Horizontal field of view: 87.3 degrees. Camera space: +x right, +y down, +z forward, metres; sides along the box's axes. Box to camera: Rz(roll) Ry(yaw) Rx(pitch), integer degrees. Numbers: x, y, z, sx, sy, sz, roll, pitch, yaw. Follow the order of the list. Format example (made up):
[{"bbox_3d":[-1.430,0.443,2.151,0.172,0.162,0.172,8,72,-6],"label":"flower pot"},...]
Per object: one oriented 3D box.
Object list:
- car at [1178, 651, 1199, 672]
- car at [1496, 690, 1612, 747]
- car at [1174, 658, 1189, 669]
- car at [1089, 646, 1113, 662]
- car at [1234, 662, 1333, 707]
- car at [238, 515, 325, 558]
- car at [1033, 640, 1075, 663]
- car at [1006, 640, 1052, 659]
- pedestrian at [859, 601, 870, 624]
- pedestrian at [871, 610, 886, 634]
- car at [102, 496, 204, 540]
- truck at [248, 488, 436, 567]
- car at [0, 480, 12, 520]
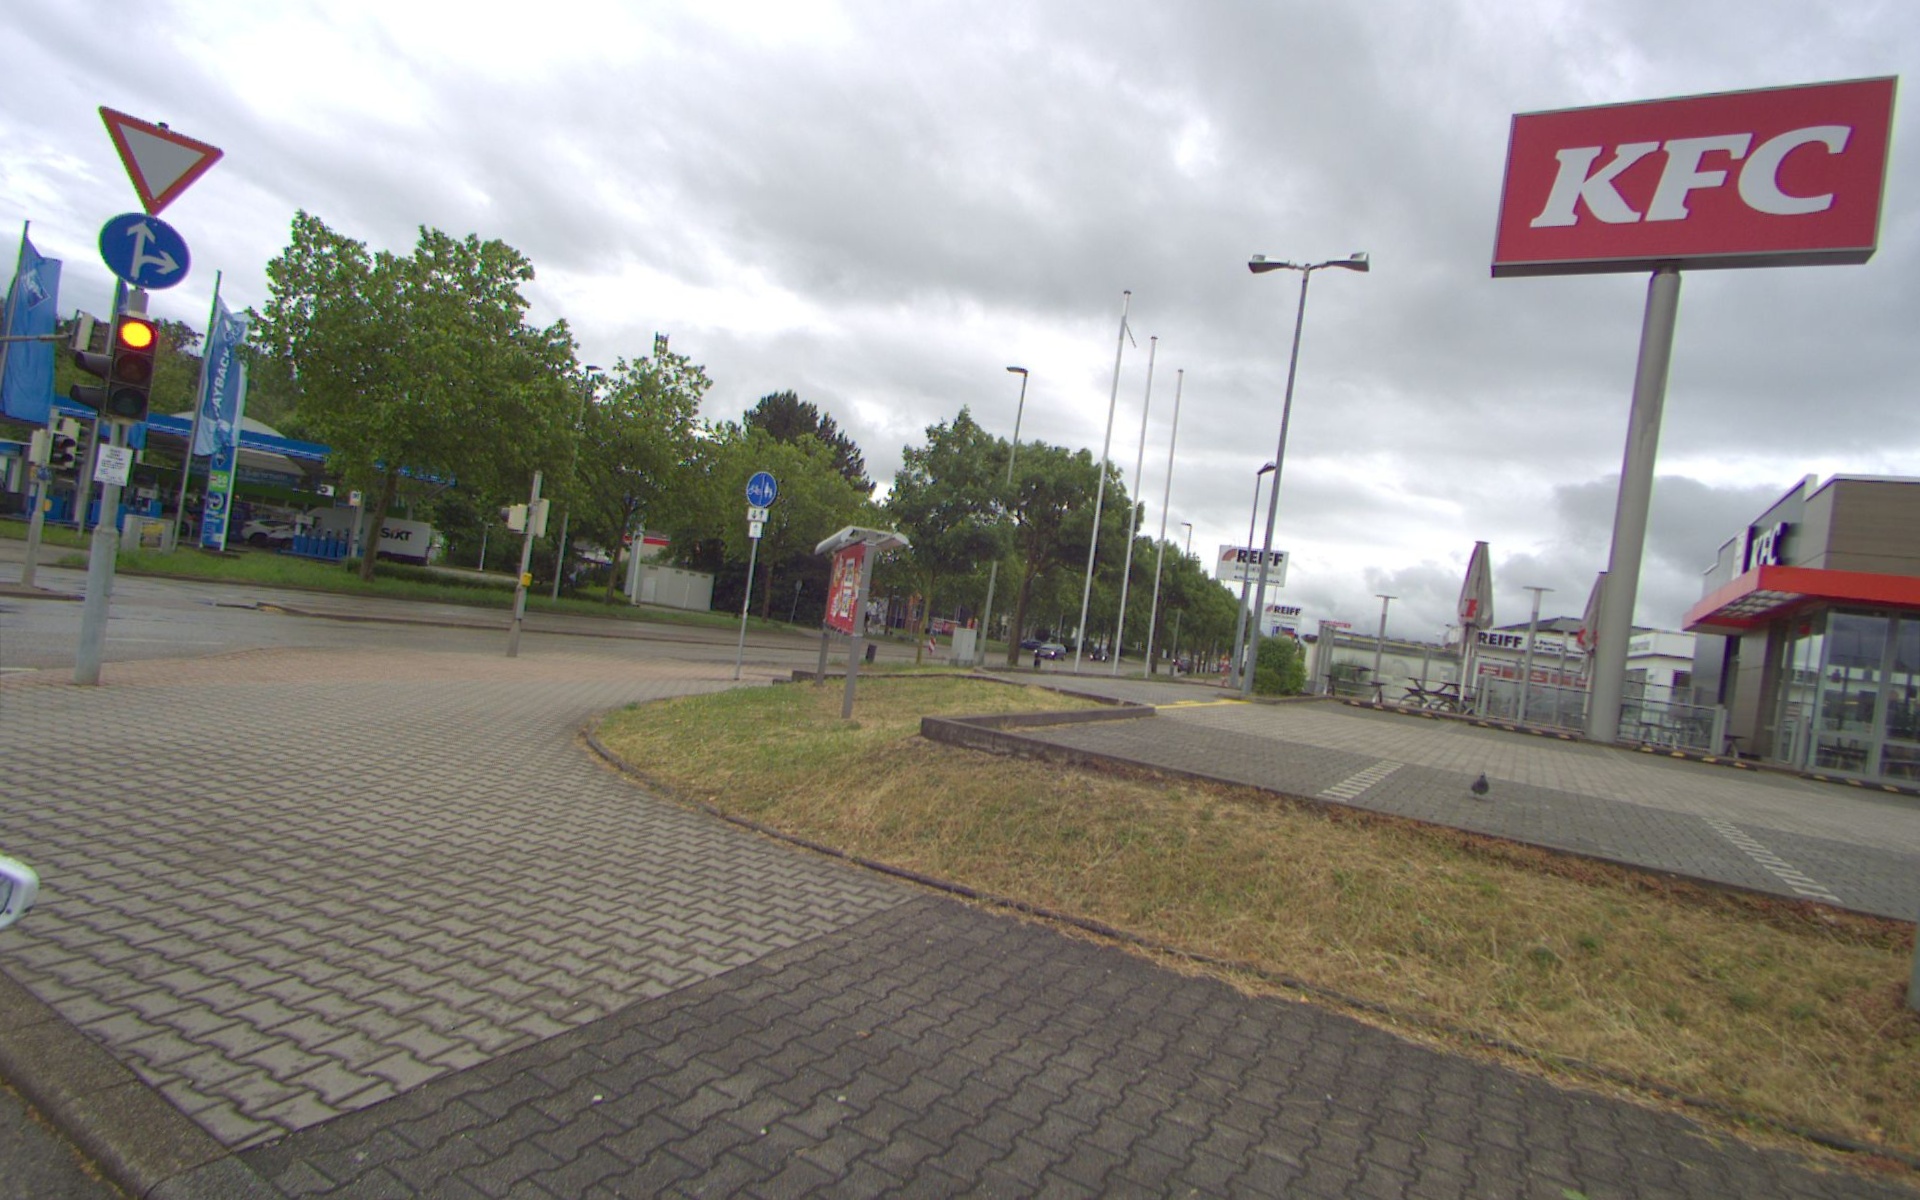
[{"bbox_3d":[25.582,6.908,112.513,1.718,2.037,4.002,7,-1,19],"label":"car"},{"bbox_3d":[24.666,4.900,41.957,3.931,1.699,1.956,7,-1,28],"label":"car"},{"bbox_3d":[38.872,11.174,176.303,1.784,1.579,4.602,7,-2,20],"label":"car"},{"bbox_3d":[15.931,6.098,113.543,1.619,1.526,3.893,6,-2,24],"label":"car"},{"bbox_3d":[15.528,4.059,48.301,4.115,1.570,1.888,7,-1,28],"label":"car"},{"bbox_3d":[-36.347,-3.383,53.986,3.523,1.600,1.679,10,-2,-27],"label":"car"},{"bbox_3d":[8.153,4.454,86.713,1.965,1.526,4.729,7,-2,26],"label":"car"},{"bbox_3d":[7.439,5.365,109.066,4.643,1.525,2.002,7,-3,-1],"label":"car"},{"bbox_3d":[-7.324,0.979,77.273,0.504,1.703,0.540,6,0,21],"label":"pedestrian"},{"bbox_3d":[-6.294,1.684,77.528,0.657,1.788,0.580,8,0,42],"label":"pedestrian"},{"bbox_3d":[-44.061,-4.433,55.036,3.959,1.748,1.781,8,-1,-31],"label":"car"},{"bbox_3d":[-31.347,-3.600,51.347,7.798,2.706,2.137,8,-1,-33],"label":"truck"},{"bbox_3d":[-47.499,-5.024,47.068,4.082,1.829,1.932,8,-1,-29],"label":"car"}]
